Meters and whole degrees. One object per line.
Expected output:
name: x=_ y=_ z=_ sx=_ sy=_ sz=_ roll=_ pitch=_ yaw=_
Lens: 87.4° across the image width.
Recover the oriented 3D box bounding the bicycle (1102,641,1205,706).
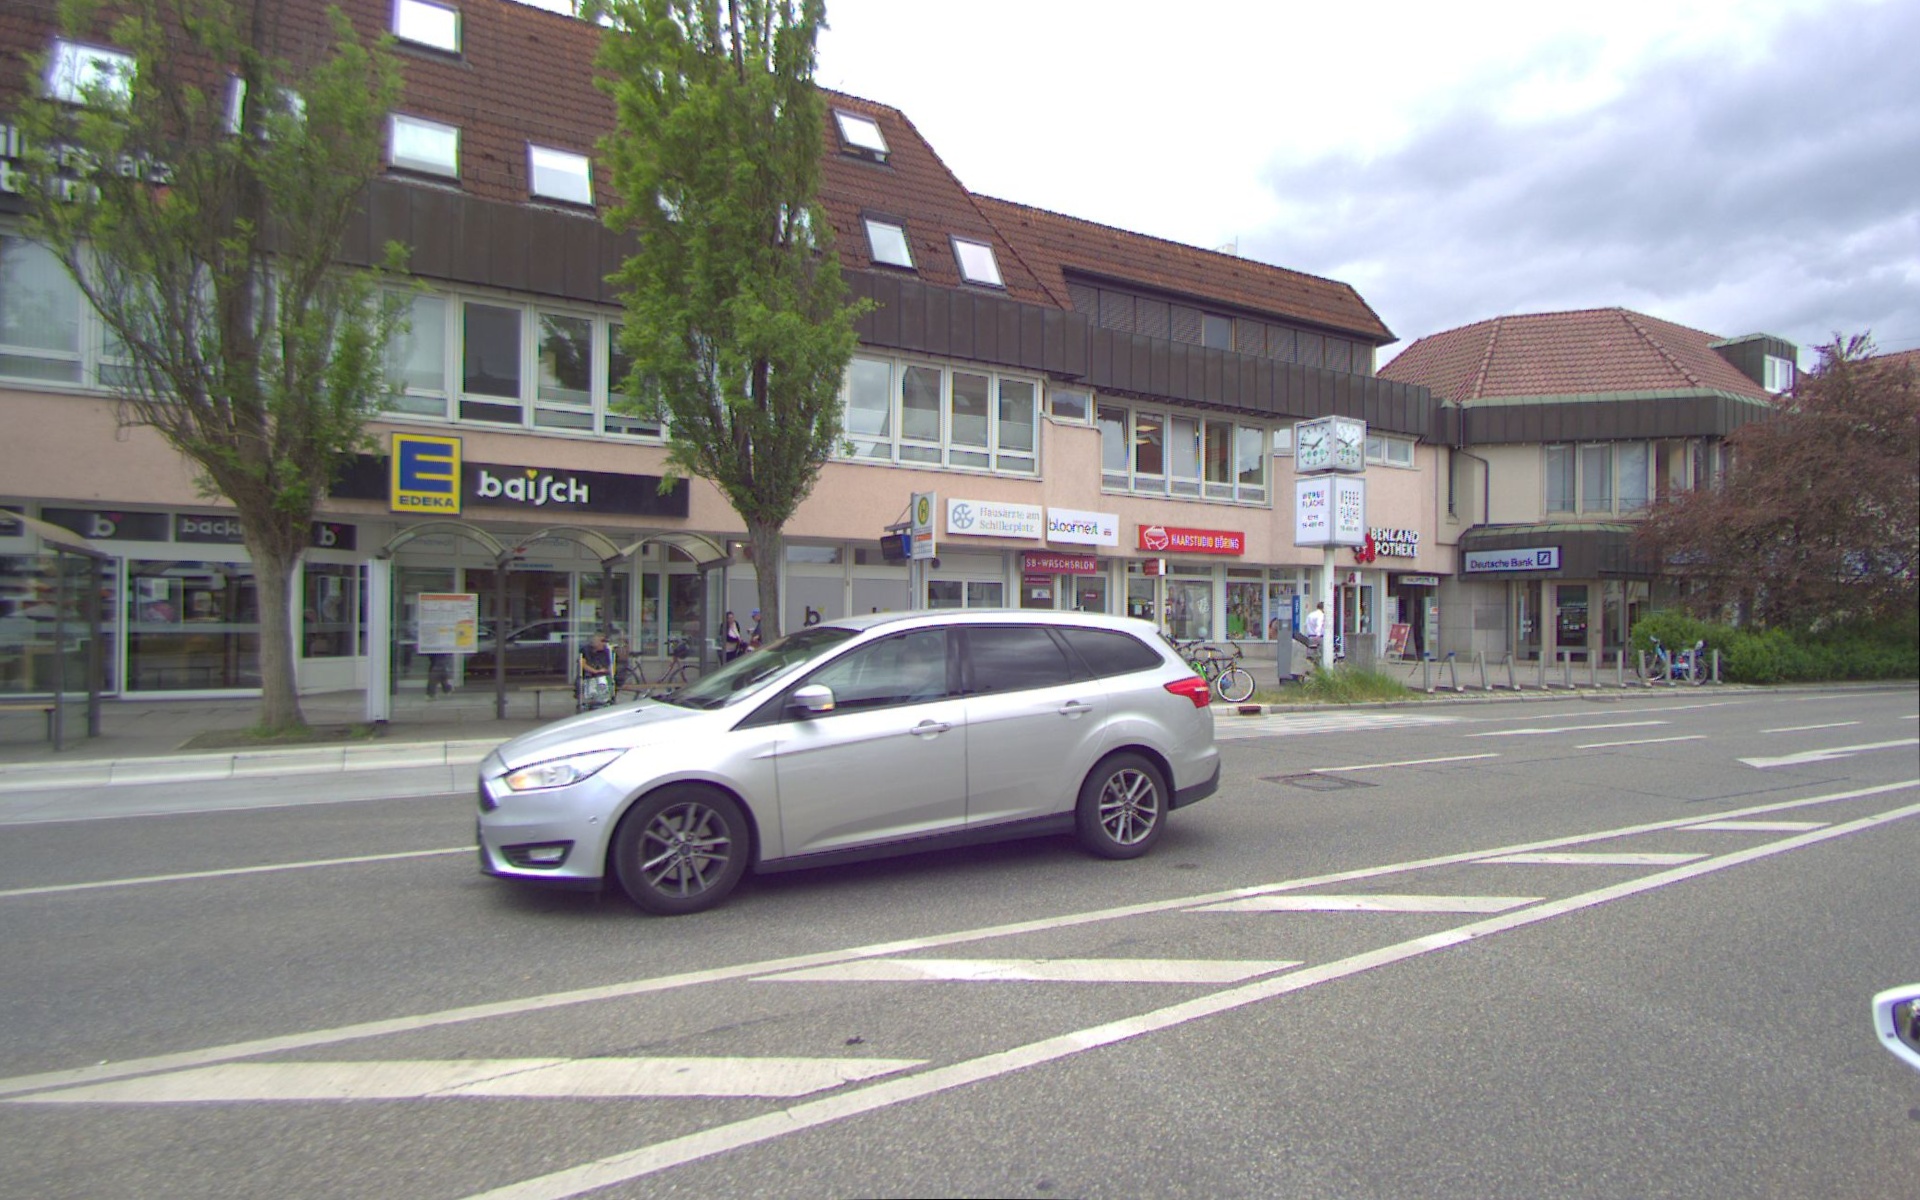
bicycle: x=3.623 y=1.355 z=18.927 sx=0.643 sy=1.105 sz=2.003 roll=1 pitch=-1 yaw=-37

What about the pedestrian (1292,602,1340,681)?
pedestrian: x=8.352 y=0.965 z=23.570 sx=0.746 sy=1.788 sz=0.722 roll=0 pitch=2 yaw=-30

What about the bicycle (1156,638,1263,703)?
bicycle: x=4.650 y=1.290 z=18.853 sx=0.643 sy=1.105 sz=2.003 roll=1 pitch=-1 yaw=-37

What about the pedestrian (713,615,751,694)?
pedestrian: x=-4.632 y=1.090 z=20.401 sx=0.581 sy=1.568 sz=0.708 roll=0 pitch=0 yaw=-29

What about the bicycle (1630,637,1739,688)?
bicycle: x=17.086 y=1.446 z=23.733 sx=0.643 sy=1.105 sz=2.003 roll=1 pitch=-1 yaw=-37

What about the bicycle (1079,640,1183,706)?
bicycle: x=3.104 y=1.308 z=18.438 sx=0.643 sy=1.105 sz=2.003 roll=1 pitch=-1 yaw=-37

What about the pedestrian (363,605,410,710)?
pedestrian: x=-9.418 y=0.918 z=16.512 sx=0.579 sy=1.674 sz=0.710 roll=0 pitch=0 yaw=-23

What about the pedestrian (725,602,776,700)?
pedestrian: x=-3.978 y=0.939 z=19.045 sx=0.746 sy=1.788 sz=0.722 roll=0 pitch=2 yaw=-30

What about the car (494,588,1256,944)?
car: x=-0.446 y=0.790 z=6.170 sx=4.289 sy=1.525 sz=1.867 roll=1 pitch=-3 yaw=-28

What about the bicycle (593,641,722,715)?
bicycle: x=-4.833 y=1.228 z=16.104 sx=1.908 sy=1.105 sz=0.531 roll=1 pitch=0 yaw=-31

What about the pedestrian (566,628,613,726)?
pedestrian: x=-5.472 y=1.115 z=14.820 sx=0.580 sy=1.382 sz=0.709 roll=0 pitch=0 yaw=-26

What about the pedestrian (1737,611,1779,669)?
pedestrian: x=25.728 y=1.284 z=32.386 sx=0.745 sy=1.788 sz=0.723 roll=0 pitch=3 yaw=-24
